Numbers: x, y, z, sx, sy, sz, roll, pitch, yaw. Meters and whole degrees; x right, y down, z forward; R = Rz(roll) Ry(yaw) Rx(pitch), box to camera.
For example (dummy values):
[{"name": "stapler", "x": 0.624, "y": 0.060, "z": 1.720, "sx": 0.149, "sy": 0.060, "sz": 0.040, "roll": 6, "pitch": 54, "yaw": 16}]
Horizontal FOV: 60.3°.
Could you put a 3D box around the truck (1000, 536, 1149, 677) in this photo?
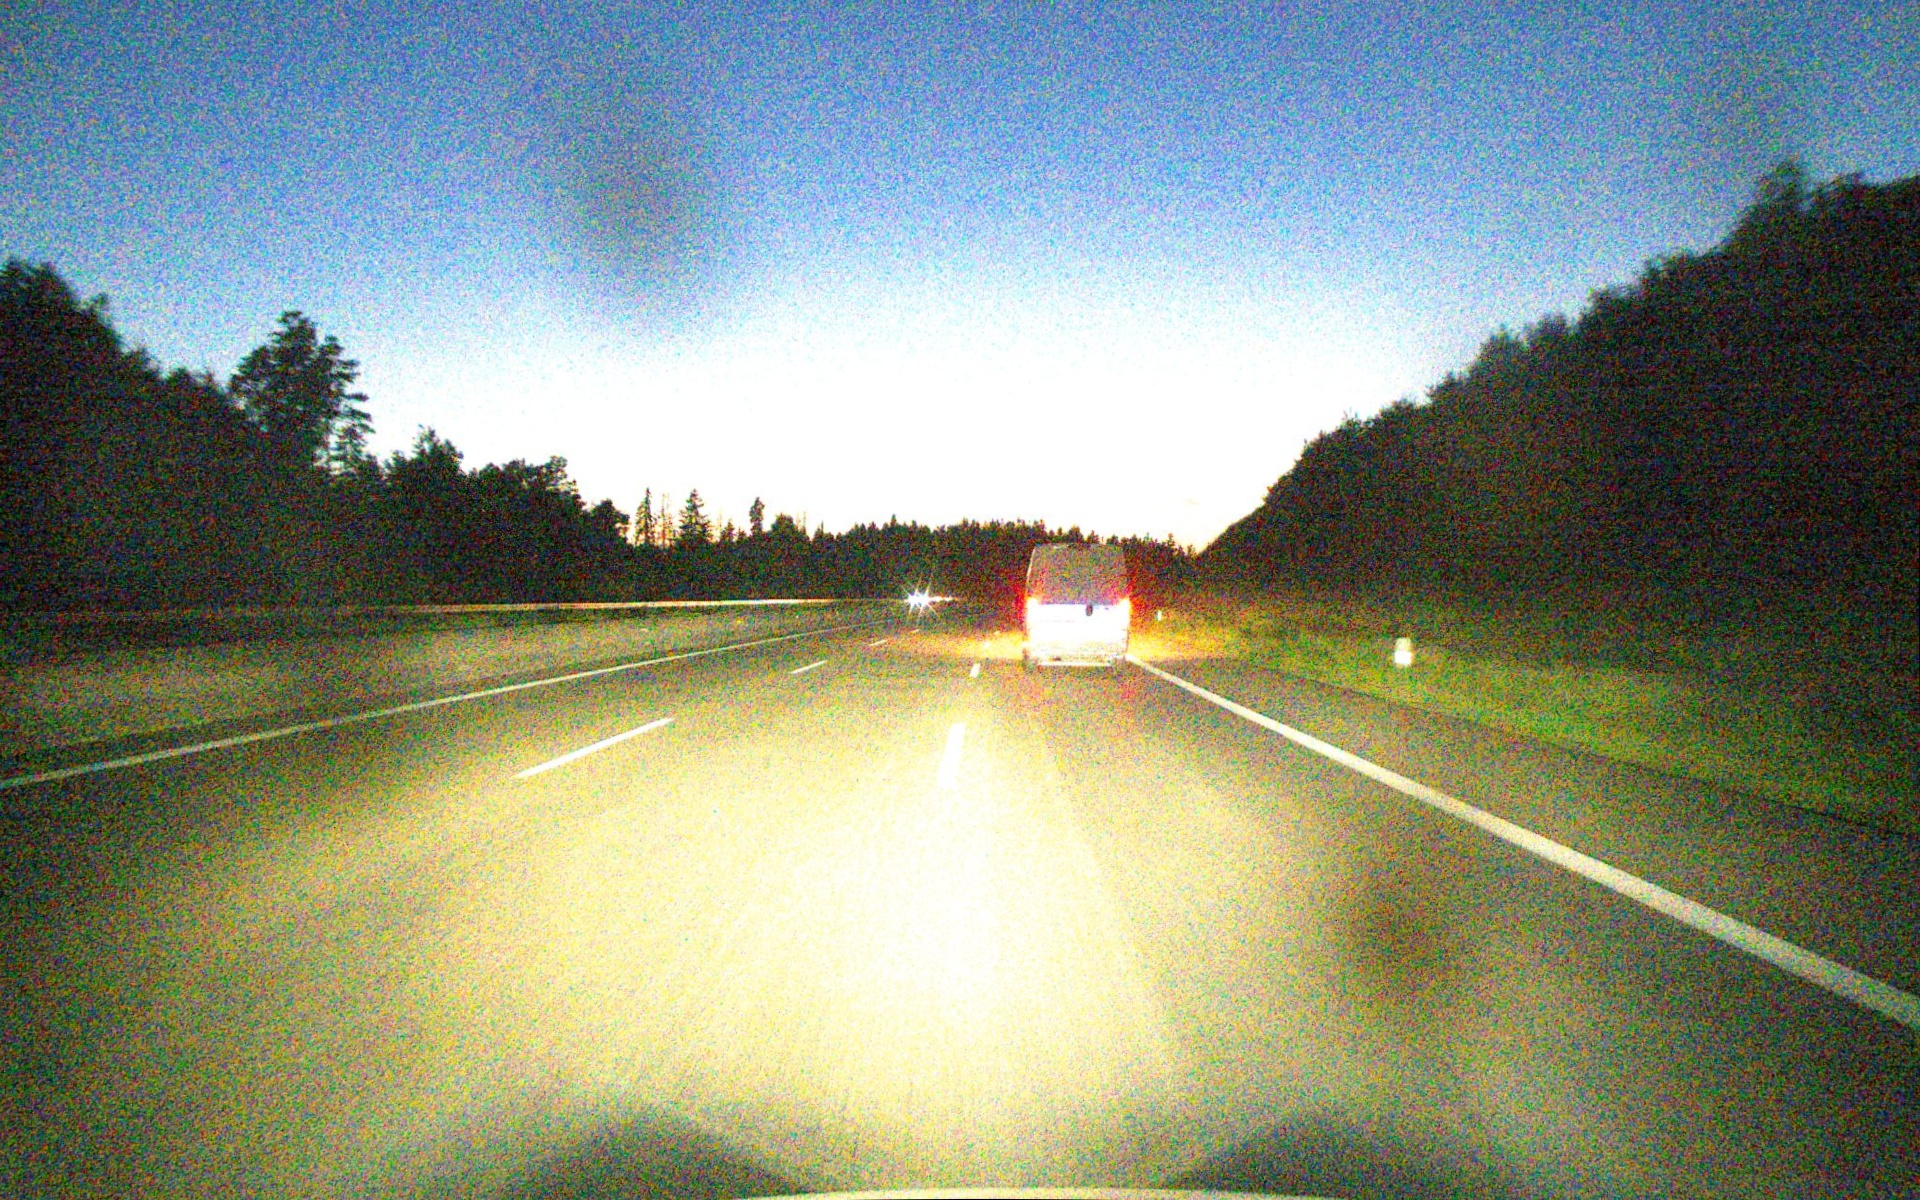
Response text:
[{"name": "truck", "x": 2.300, "y": 0.169, "z": 35.914, "sx": 2.576, "sy": 2.670, "sz": 8.683, "roll": 0, "pitch": -1, "yaw": 0}]
